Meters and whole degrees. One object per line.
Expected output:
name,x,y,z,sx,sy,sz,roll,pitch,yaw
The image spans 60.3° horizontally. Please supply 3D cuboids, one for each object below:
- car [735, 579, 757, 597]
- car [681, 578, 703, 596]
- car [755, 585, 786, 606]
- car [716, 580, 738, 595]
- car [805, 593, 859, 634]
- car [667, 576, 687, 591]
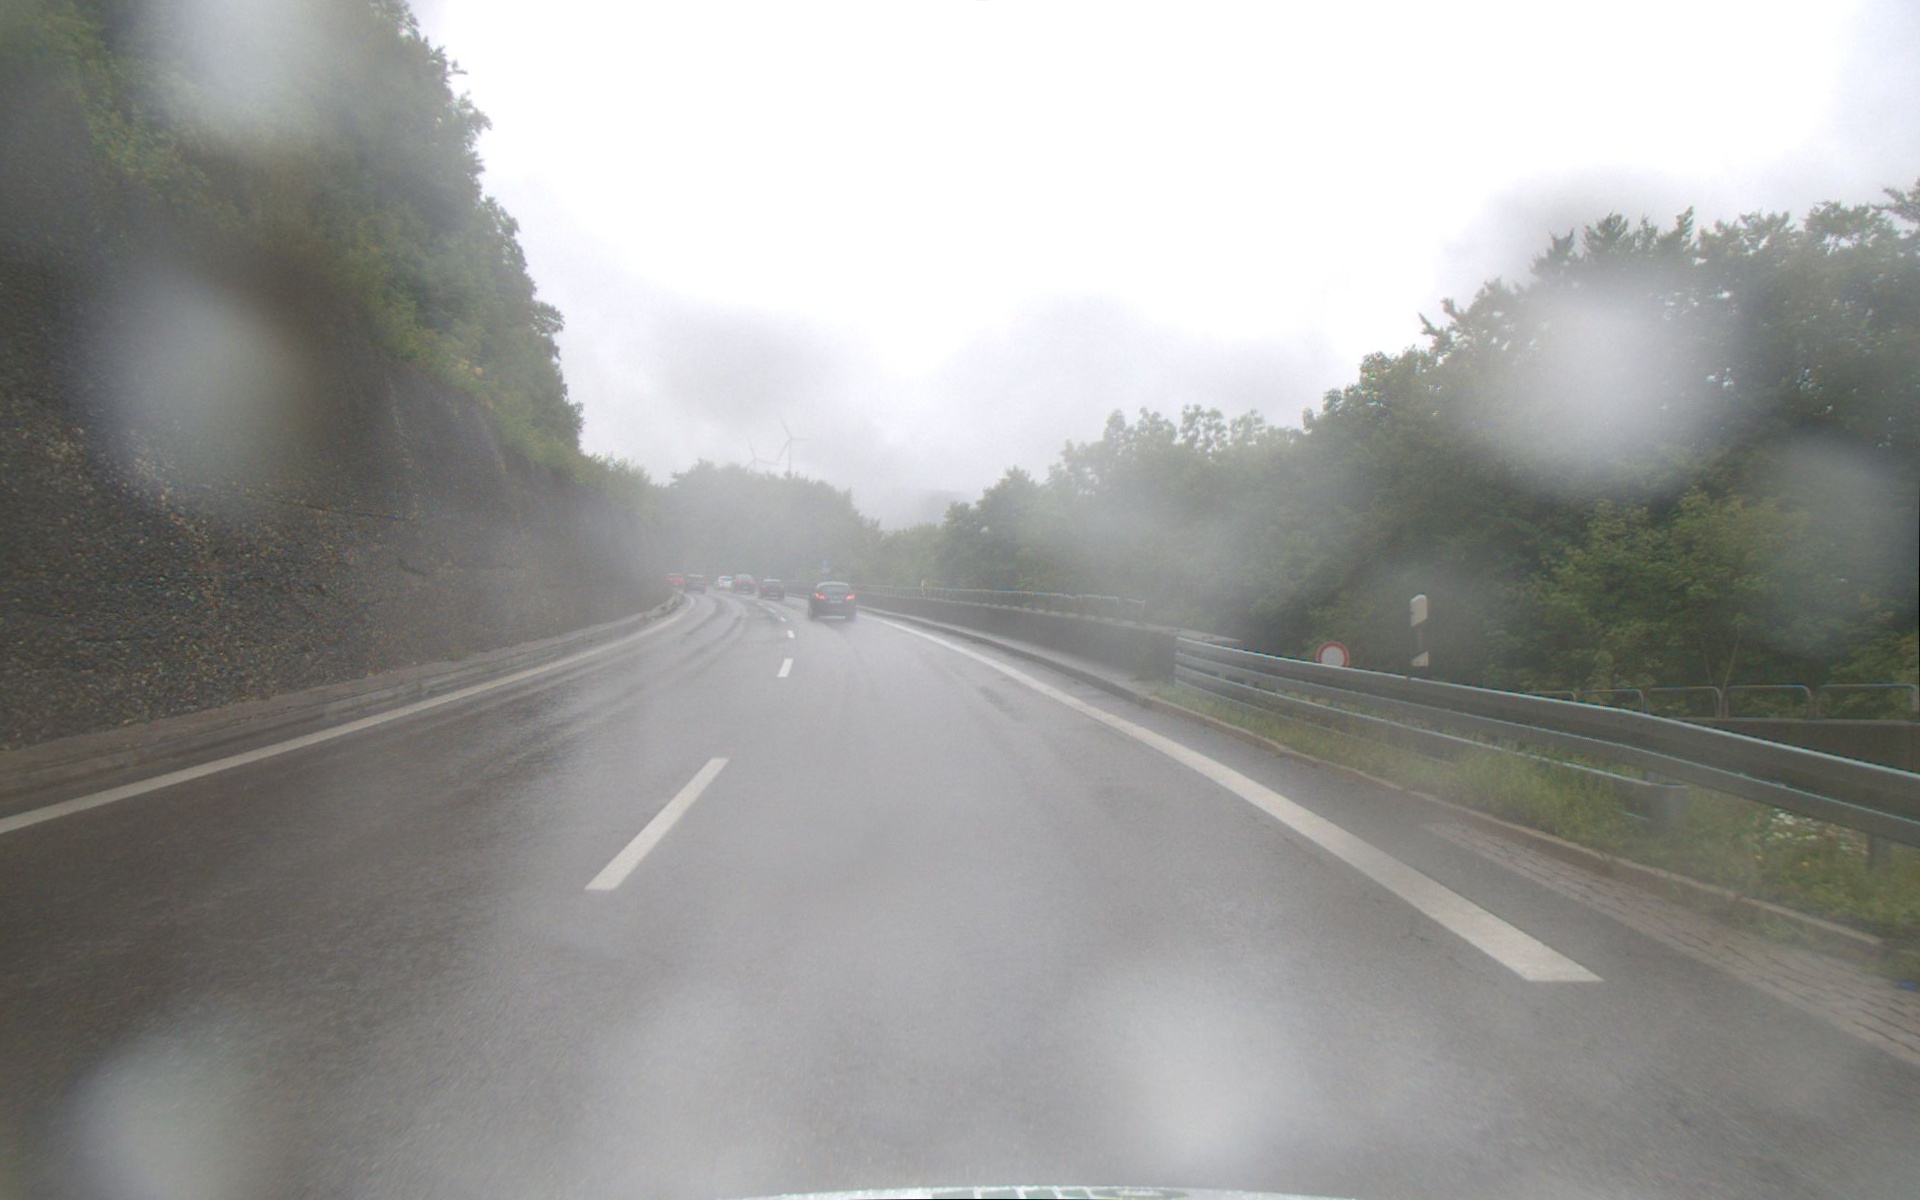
car,-19.350,-1.110,149.456,1.869,1.525,3.991,1,1,-10
car,-23.705,-1.197,146.440,1.869,1.525,3.991,1,1,-10
car,-13.864,-0.340,120.658,1.870,1.525,3.988,1,1,-12
car,-23.805,-1.293,168.658,1.871,1.525,3.987,1,1,-13
car,-5.150,0.505,65.981,1.868,1.525,3.993,1,1,-8
car,-29.737,-1.754,173.700,1.870,1.525,3.989,1,1,-12
